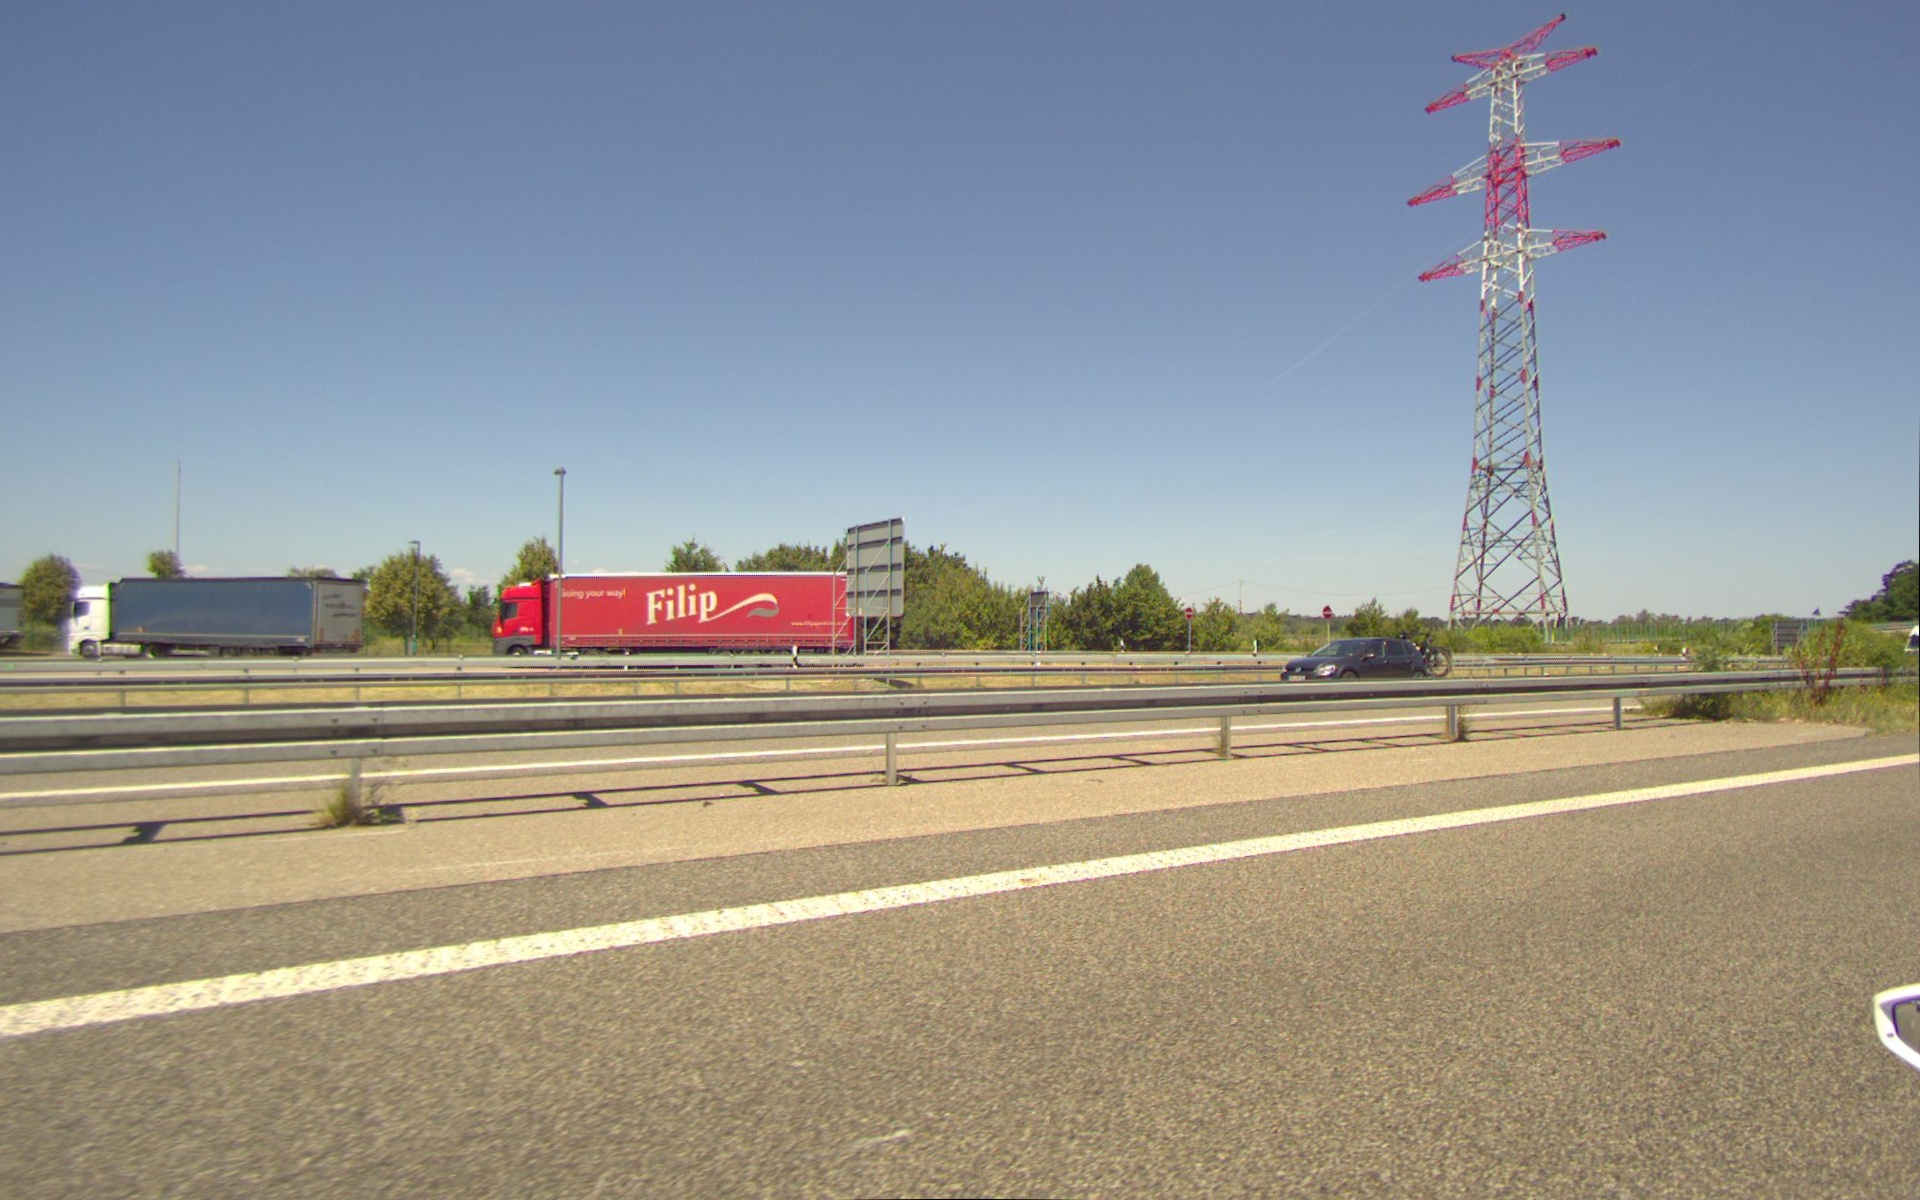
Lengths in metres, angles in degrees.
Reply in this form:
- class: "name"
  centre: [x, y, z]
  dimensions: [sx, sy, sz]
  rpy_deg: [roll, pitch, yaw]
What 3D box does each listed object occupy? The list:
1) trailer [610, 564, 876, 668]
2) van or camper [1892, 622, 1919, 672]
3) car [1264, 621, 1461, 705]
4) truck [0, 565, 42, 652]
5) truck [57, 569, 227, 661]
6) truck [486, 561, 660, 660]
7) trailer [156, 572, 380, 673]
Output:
- class: "trailer"
  centre: [-9.543, 0.679, 44.940]
  dimensions: [11.086, 4.109, 3.132]
  rpy_deg: [2, 1, 4]
- class: "van or camper"
  centre: [52.498, 2.518, 53.750]
  dimensions: [6.314, 2.558, 2.049]
  rpy_deg: [2, 1, -30]
- class: "car"
  centre: [10.084, 1.514, 25.027]
  dimensions: [4.990, 1.834, 1.943]
  rpy_deg: [2, 1, -32]
- class: "truck"
  centre: [-54.022, 0.273, 52.127]
  dimensions: [10.499, 4.415, 3.061]
  rpy_deg: [2, 1, 5]
- class: "truck"
  centre: [-41.508, 0.720, 51.079]
  dimensions: [6.510, 4.308, 3.176]
  rpy_deg: [2, 1, 11]
- class: "truck"
  centre: [-17.431, 0.434, 45.515]
  dimensions: [6.511, 4.103, 3.129]
  rpy_deg: [2, 1, 4]
- class: "trailer"
  centre: [-33.710, 0.971, 48.856]
  dimensions: [10.845, 4.323, 3.166]
  rpy_deg: [2, 1, 20]
